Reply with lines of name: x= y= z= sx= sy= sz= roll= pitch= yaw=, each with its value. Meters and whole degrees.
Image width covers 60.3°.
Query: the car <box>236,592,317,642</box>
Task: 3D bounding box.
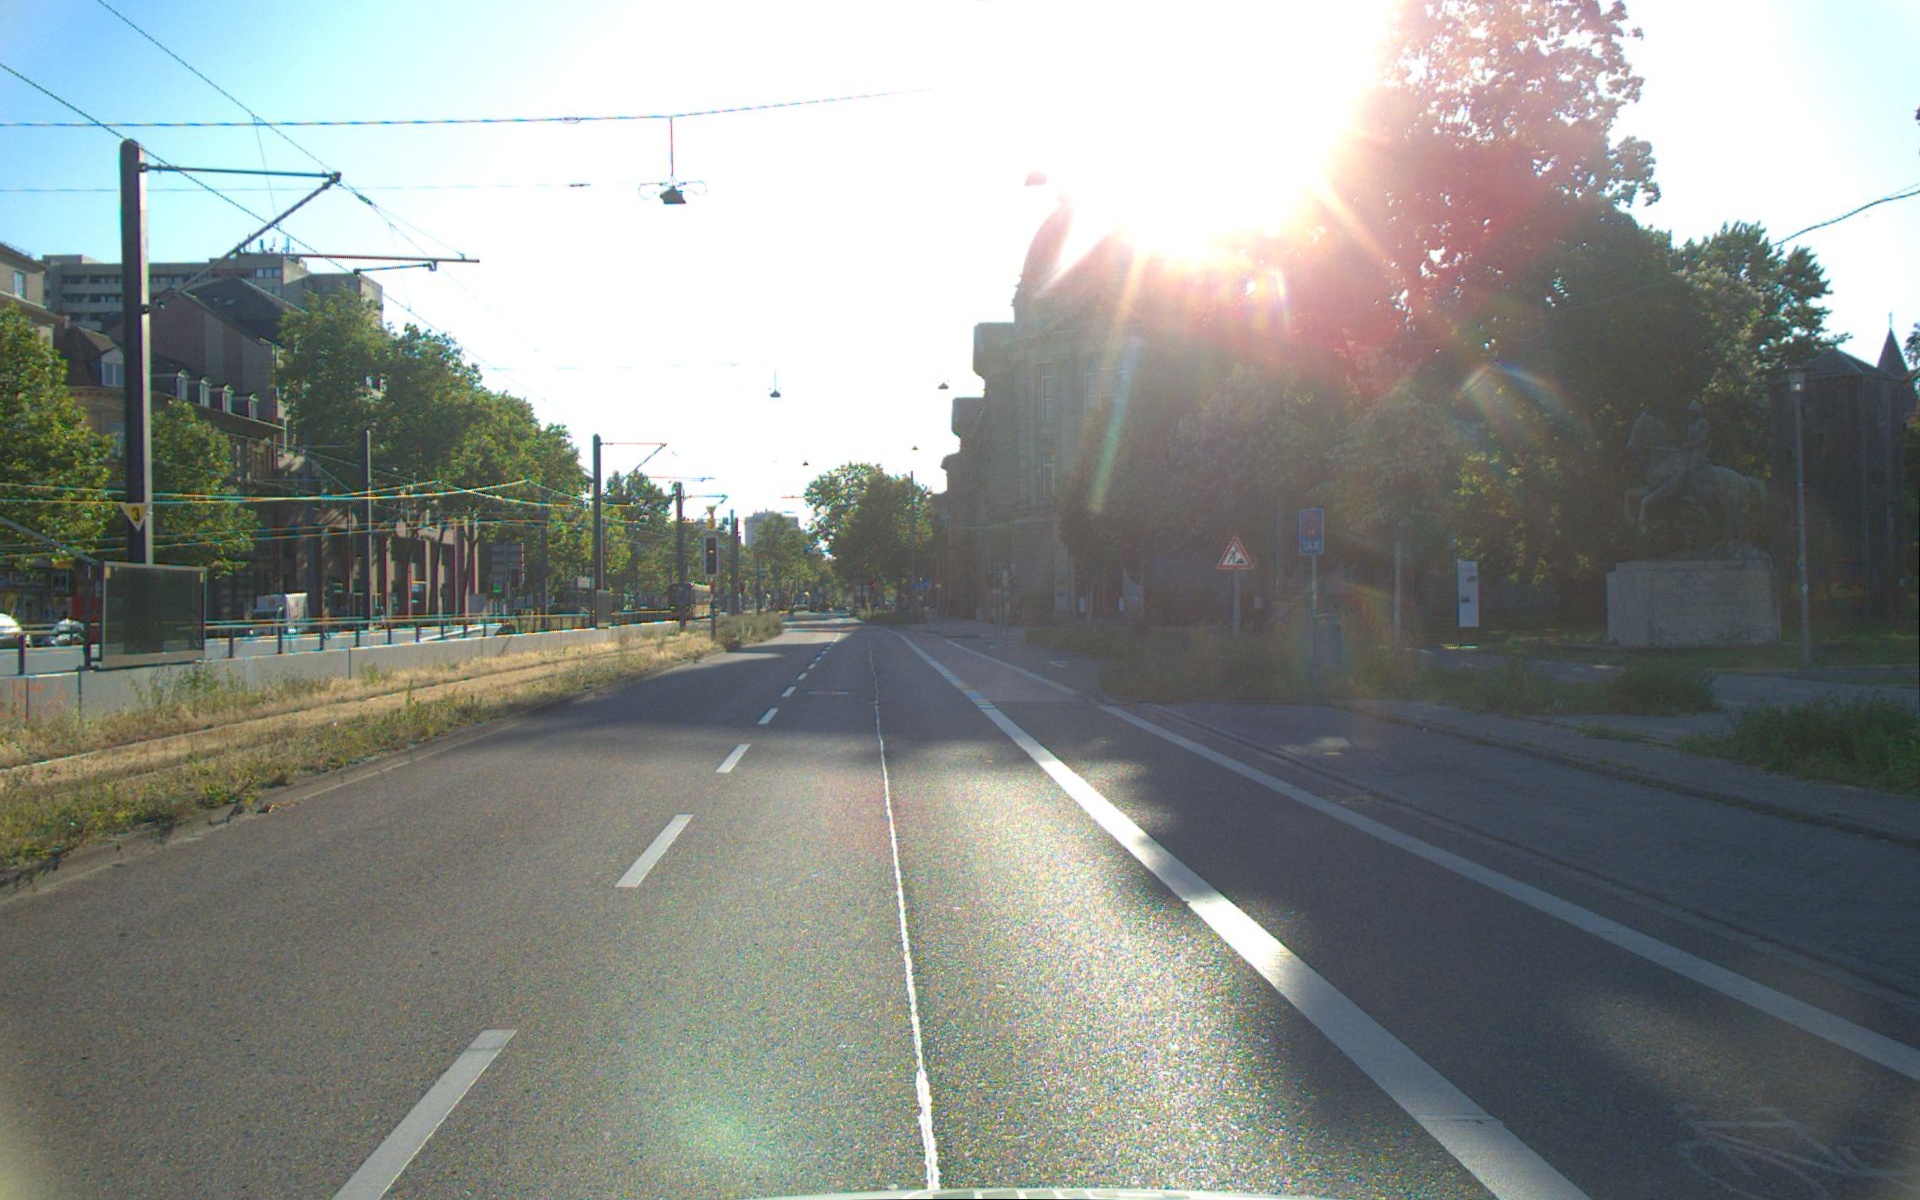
car: x=-31.148 y=0.738 z=75.505 sx=1.913 sy=2.171 sz=4.570 roll=-1 pitch=0 yaw=-3

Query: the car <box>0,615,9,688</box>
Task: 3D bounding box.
car: x=-25.026 y=1.312 z=39.340 sx=1.953 sy=1.851 sz=4.978 roll=-1 pitch=0 yaw=-1

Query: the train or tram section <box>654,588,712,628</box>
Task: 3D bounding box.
train or tram section: x=-26.527 y=0.801 z=159.507 sx=3.049 sy=3.621 sz=17.472 roll=-1 pitch=0 yaw=-2

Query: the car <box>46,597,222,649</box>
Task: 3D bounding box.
car: x=-39.807 y=1.104 z=79.865 sx=7.131 sy=2.306 sz=2.466 roll=-1 pitch=0 yaw=-8

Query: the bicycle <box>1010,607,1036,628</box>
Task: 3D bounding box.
bicycle: x=3.686 y=1.014 z=96.804 sx=0.849 sy=1.217 sz=2.240 roll=-1 pitch=0 yaw=20
